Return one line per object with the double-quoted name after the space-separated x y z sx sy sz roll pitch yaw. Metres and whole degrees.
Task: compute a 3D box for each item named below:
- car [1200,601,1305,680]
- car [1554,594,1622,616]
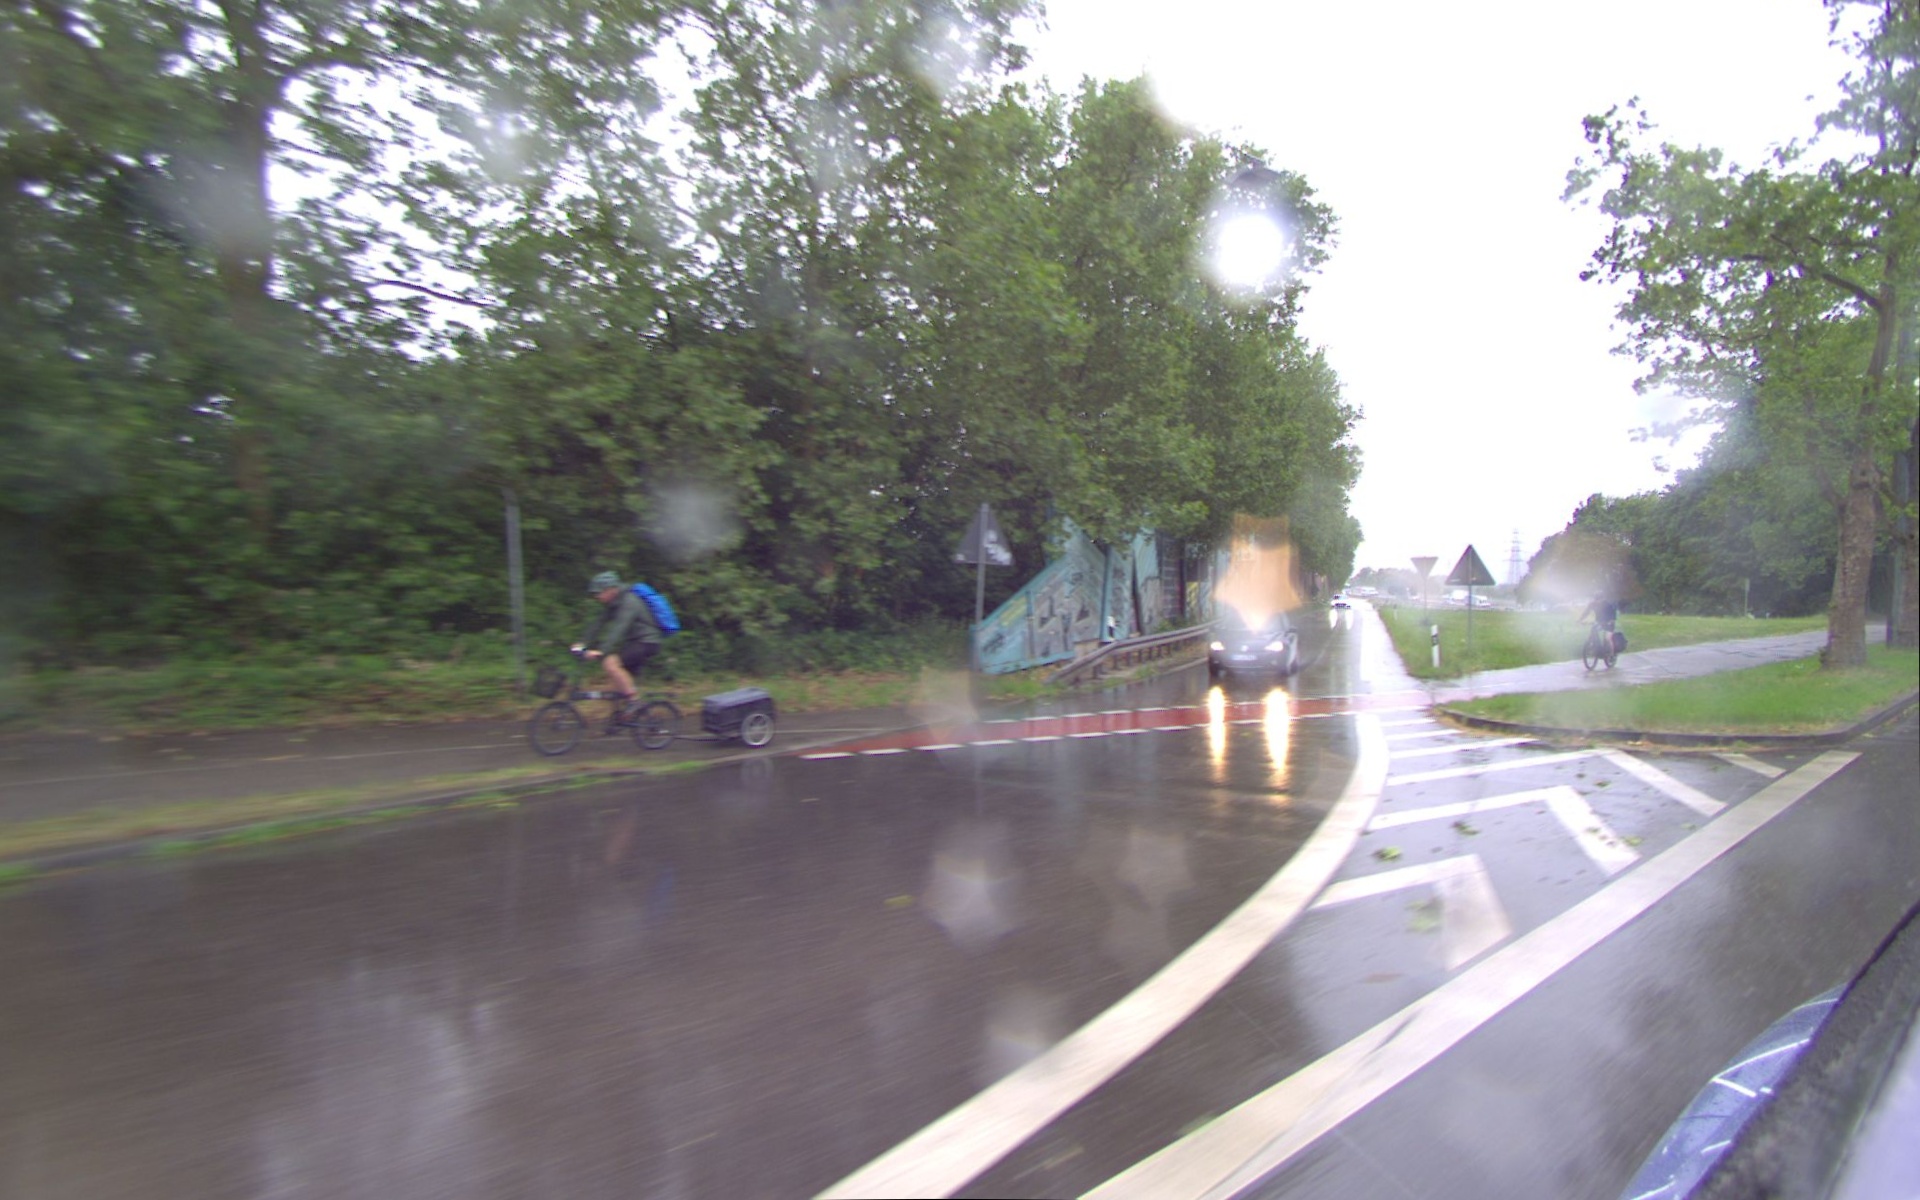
6.862 0.851 23.447 1.848 1.556 4.482 1 1 23 "car"
46.667 0.354 75.202 1.723 1.437 3.990 0 2 -44 "car"
